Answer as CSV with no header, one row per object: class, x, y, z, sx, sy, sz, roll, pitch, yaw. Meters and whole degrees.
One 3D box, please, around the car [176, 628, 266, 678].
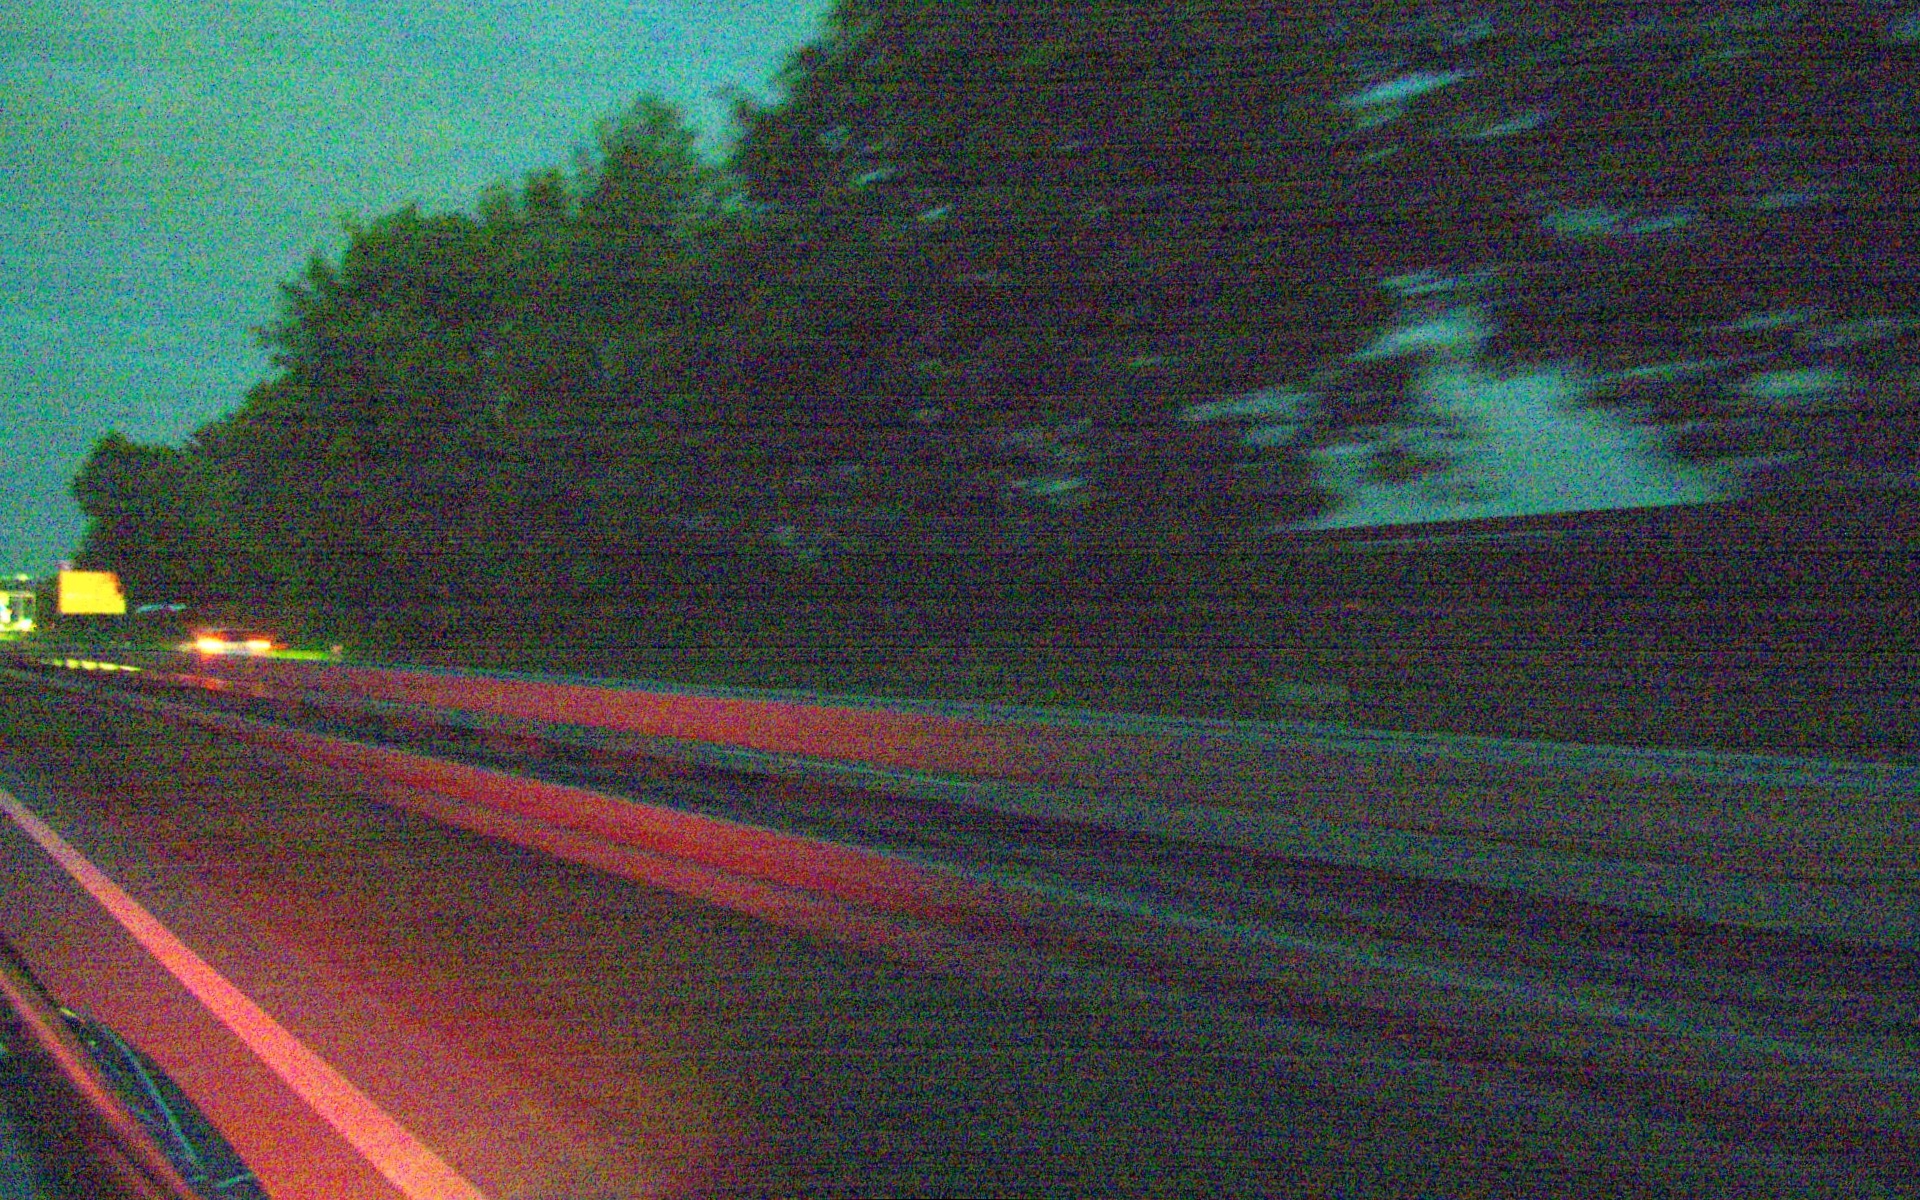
car,-24.649,1.713,33.698,3.867,1.518,1.601,-1,0,41
